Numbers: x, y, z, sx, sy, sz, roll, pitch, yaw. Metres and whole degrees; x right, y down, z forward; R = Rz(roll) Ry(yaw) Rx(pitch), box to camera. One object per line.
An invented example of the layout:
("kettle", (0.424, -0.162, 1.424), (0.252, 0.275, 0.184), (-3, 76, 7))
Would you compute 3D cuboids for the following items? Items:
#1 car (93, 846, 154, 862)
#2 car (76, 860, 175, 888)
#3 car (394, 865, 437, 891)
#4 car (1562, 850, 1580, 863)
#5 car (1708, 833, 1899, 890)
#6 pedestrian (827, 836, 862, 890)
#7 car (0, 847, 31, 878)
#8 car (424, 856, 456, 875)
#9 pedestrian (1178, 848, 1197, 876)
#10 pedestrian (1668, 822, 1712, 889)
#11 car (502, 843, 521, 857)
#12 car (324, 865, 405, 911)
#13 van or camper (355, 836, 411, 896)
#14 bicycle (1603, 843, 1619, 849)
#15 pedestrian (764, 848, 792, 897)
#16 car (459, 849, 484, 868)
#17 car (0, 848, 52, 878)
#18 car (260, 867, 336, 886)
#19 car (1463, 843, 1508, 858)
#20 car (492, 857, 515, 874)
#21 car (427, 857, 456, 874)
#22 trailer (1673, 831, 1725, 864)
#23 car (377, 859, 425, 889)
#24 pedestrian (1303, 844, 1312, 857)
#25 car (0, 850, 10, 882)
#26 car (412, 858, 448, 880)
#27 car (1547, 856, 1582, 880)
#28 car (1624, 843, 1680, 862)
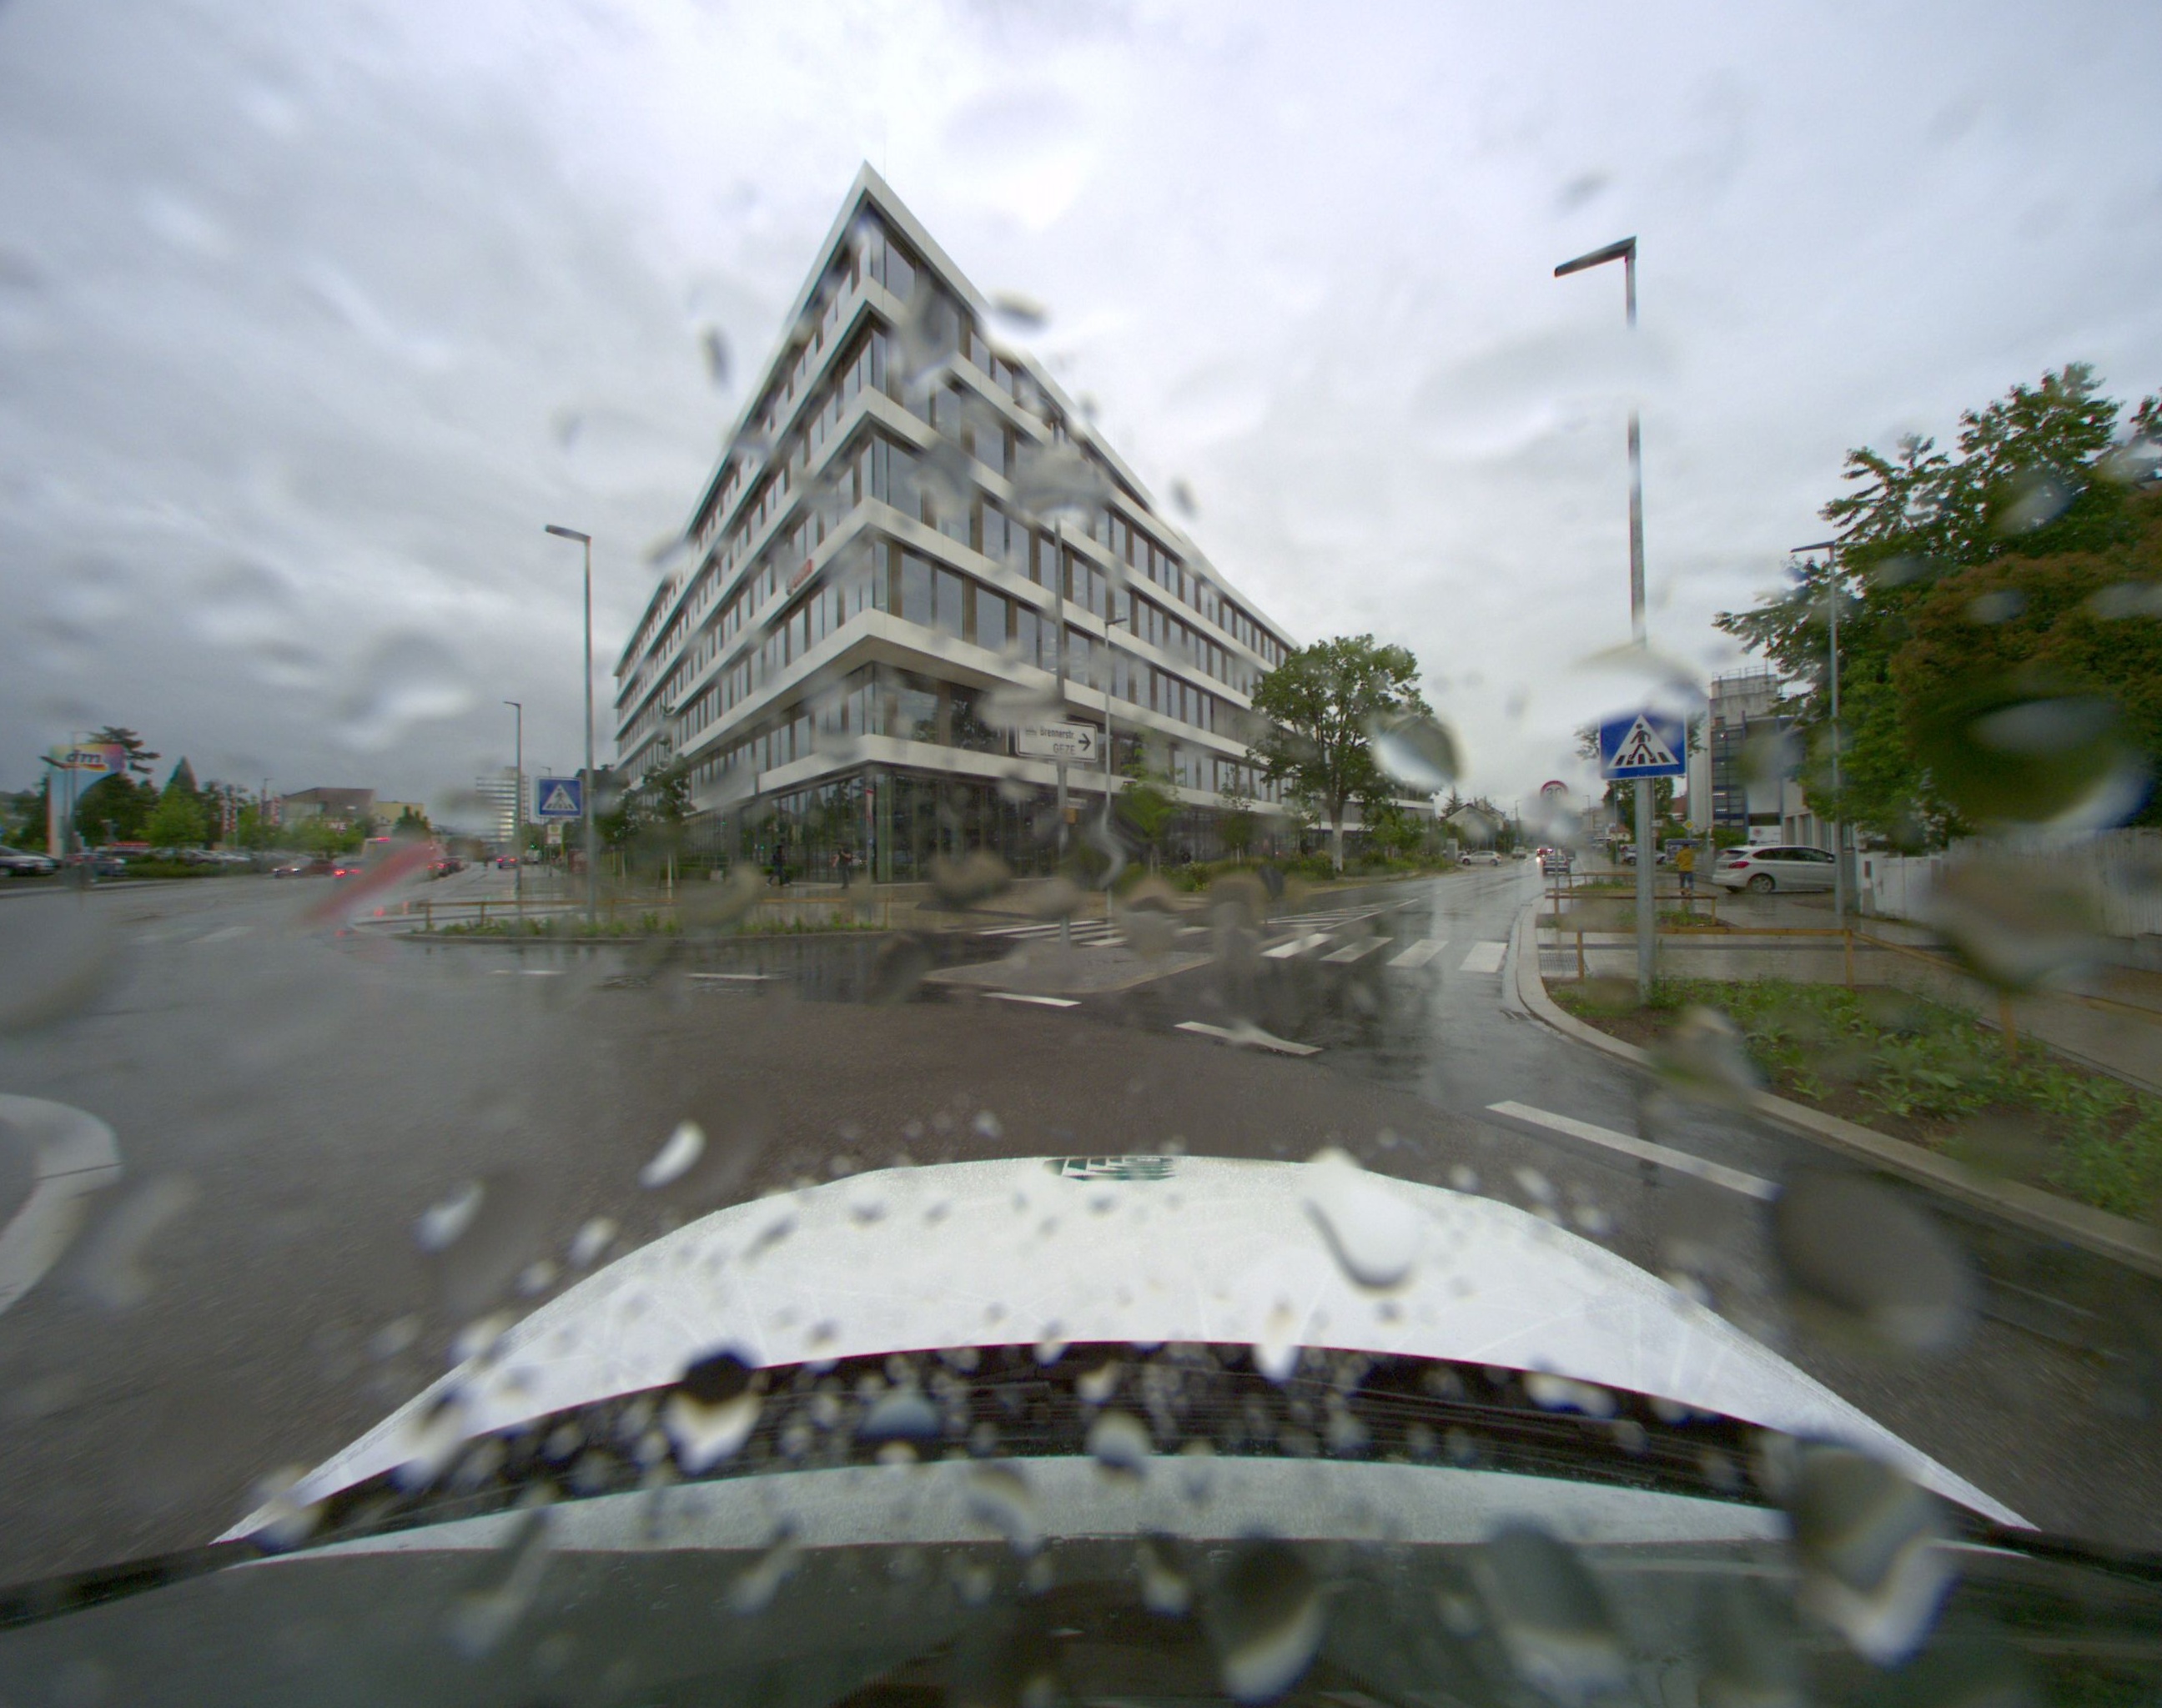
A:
("car", (-105.792, 0.002, 90.038), (4.017, 1.651, 1.978), (3, 1, -36))
("car", (-65.600, 1.363, 55.999), (4.019, 1.727, 1.978), (2, 1, -38))
("car", (-46.247, 1.616, 56.669), (2.009, 1.618, 3.957), (0, 0, -36))
("car", (71.011, 0.313, 117.956), (2.134, 1.705, 4.025), (3, 1, 31))
("car", (23.014, 0.260, 26.152), (4.096, 1.580, 2.009), (-3, -1, 17))
("pedestrian", (-9.048, 0.348, 31.140), (0.882, 2.013, 0.937), (0, 0, 27))
("car", (-55.645, 0.428, 40.421), (4.019, 1.552, 1.774), (-1, 0, -38))
("car", (-56.752, 0.995, 72.137), (2.009, 1.618, 3.957), (0, 0, -36))
("pedestrian", (6.720, 0.528, 51.351), (0.717, 1.703, 0.962), (3, 0, 35))
("pedestrian", (19.010, 0.046, 25.434), (0.850, 2.014, 1.202), (-4, -2, 30))
("car", (-83.142, -0.645, 118.976), (2.007, 1.859, 3.960), (3, 1, -33))
("car", (-31.779, 1.437, 36.264), (2.006, 1.727, 3.962), (0, 2, -31))
("van or camper", (-38.275, 0.553, 44.780), (2.009, 3.087, 5.045), (-1, 2, -37))
("bicycle", (98.742, -1.536, 151.693), (0.666, 1.067, 3.629), (3, 1, 0))
("pedestrian", (-13.406, 0.810, 36.037), (1.009, 2.145, 0.922), (0, 0, -32))
("car", (-72.636, 0.493, 97.112), (2.007, 2.013, 3.960), (-1, 3, -32))
("car", (-57.129, 0.461, 42.452), (4.019, 1.552, 1.774), (-1, 0, -38))
("car", (-61.406, 1.730, 63.932), (1.986, 1.398, 4.002), (0, 0, 2))
("car", (41.160, -0.370, 82.821), (3.890, 1.423, 1.910), (-1, 0, 32))
("car", (-70.440, 1.422, 99.348), (2.007, 1.859, 3.960), (3, 1, -33))
("car", (-63.155, 1.126, 80.449), (2.009, 1.618, 3.957), (0, 0, -36))
("trailer", (41.641, -0.418, 54.966), (2.675, 2.171, 1.558), (-1, 0, 33))
("car", (-42.606, 1.219, 51.131), (2.009, 1.706, 3.957), (0, 0, -36))
("pedestrian", (29.568, -0.437, 106.422), (1.004, 1.724, 0.777), (0, 0, 29))
("car", (-54.123, 0.594, 38.419), (4.019, 1.552, 1.774), (-1, 0, -38))
("car", (-50.818, 1.112, 63.633), (2.009, 1.618, 3.957), (0, 0, -36))
("car", (34.346, 0.986, 57.965), (1.930, 1.555, 4.024), (3, 1, 29))
("car", (54.753, -0.148, 78.121), (4.167, 1.650, 2.012), (-3, -2, 41))
